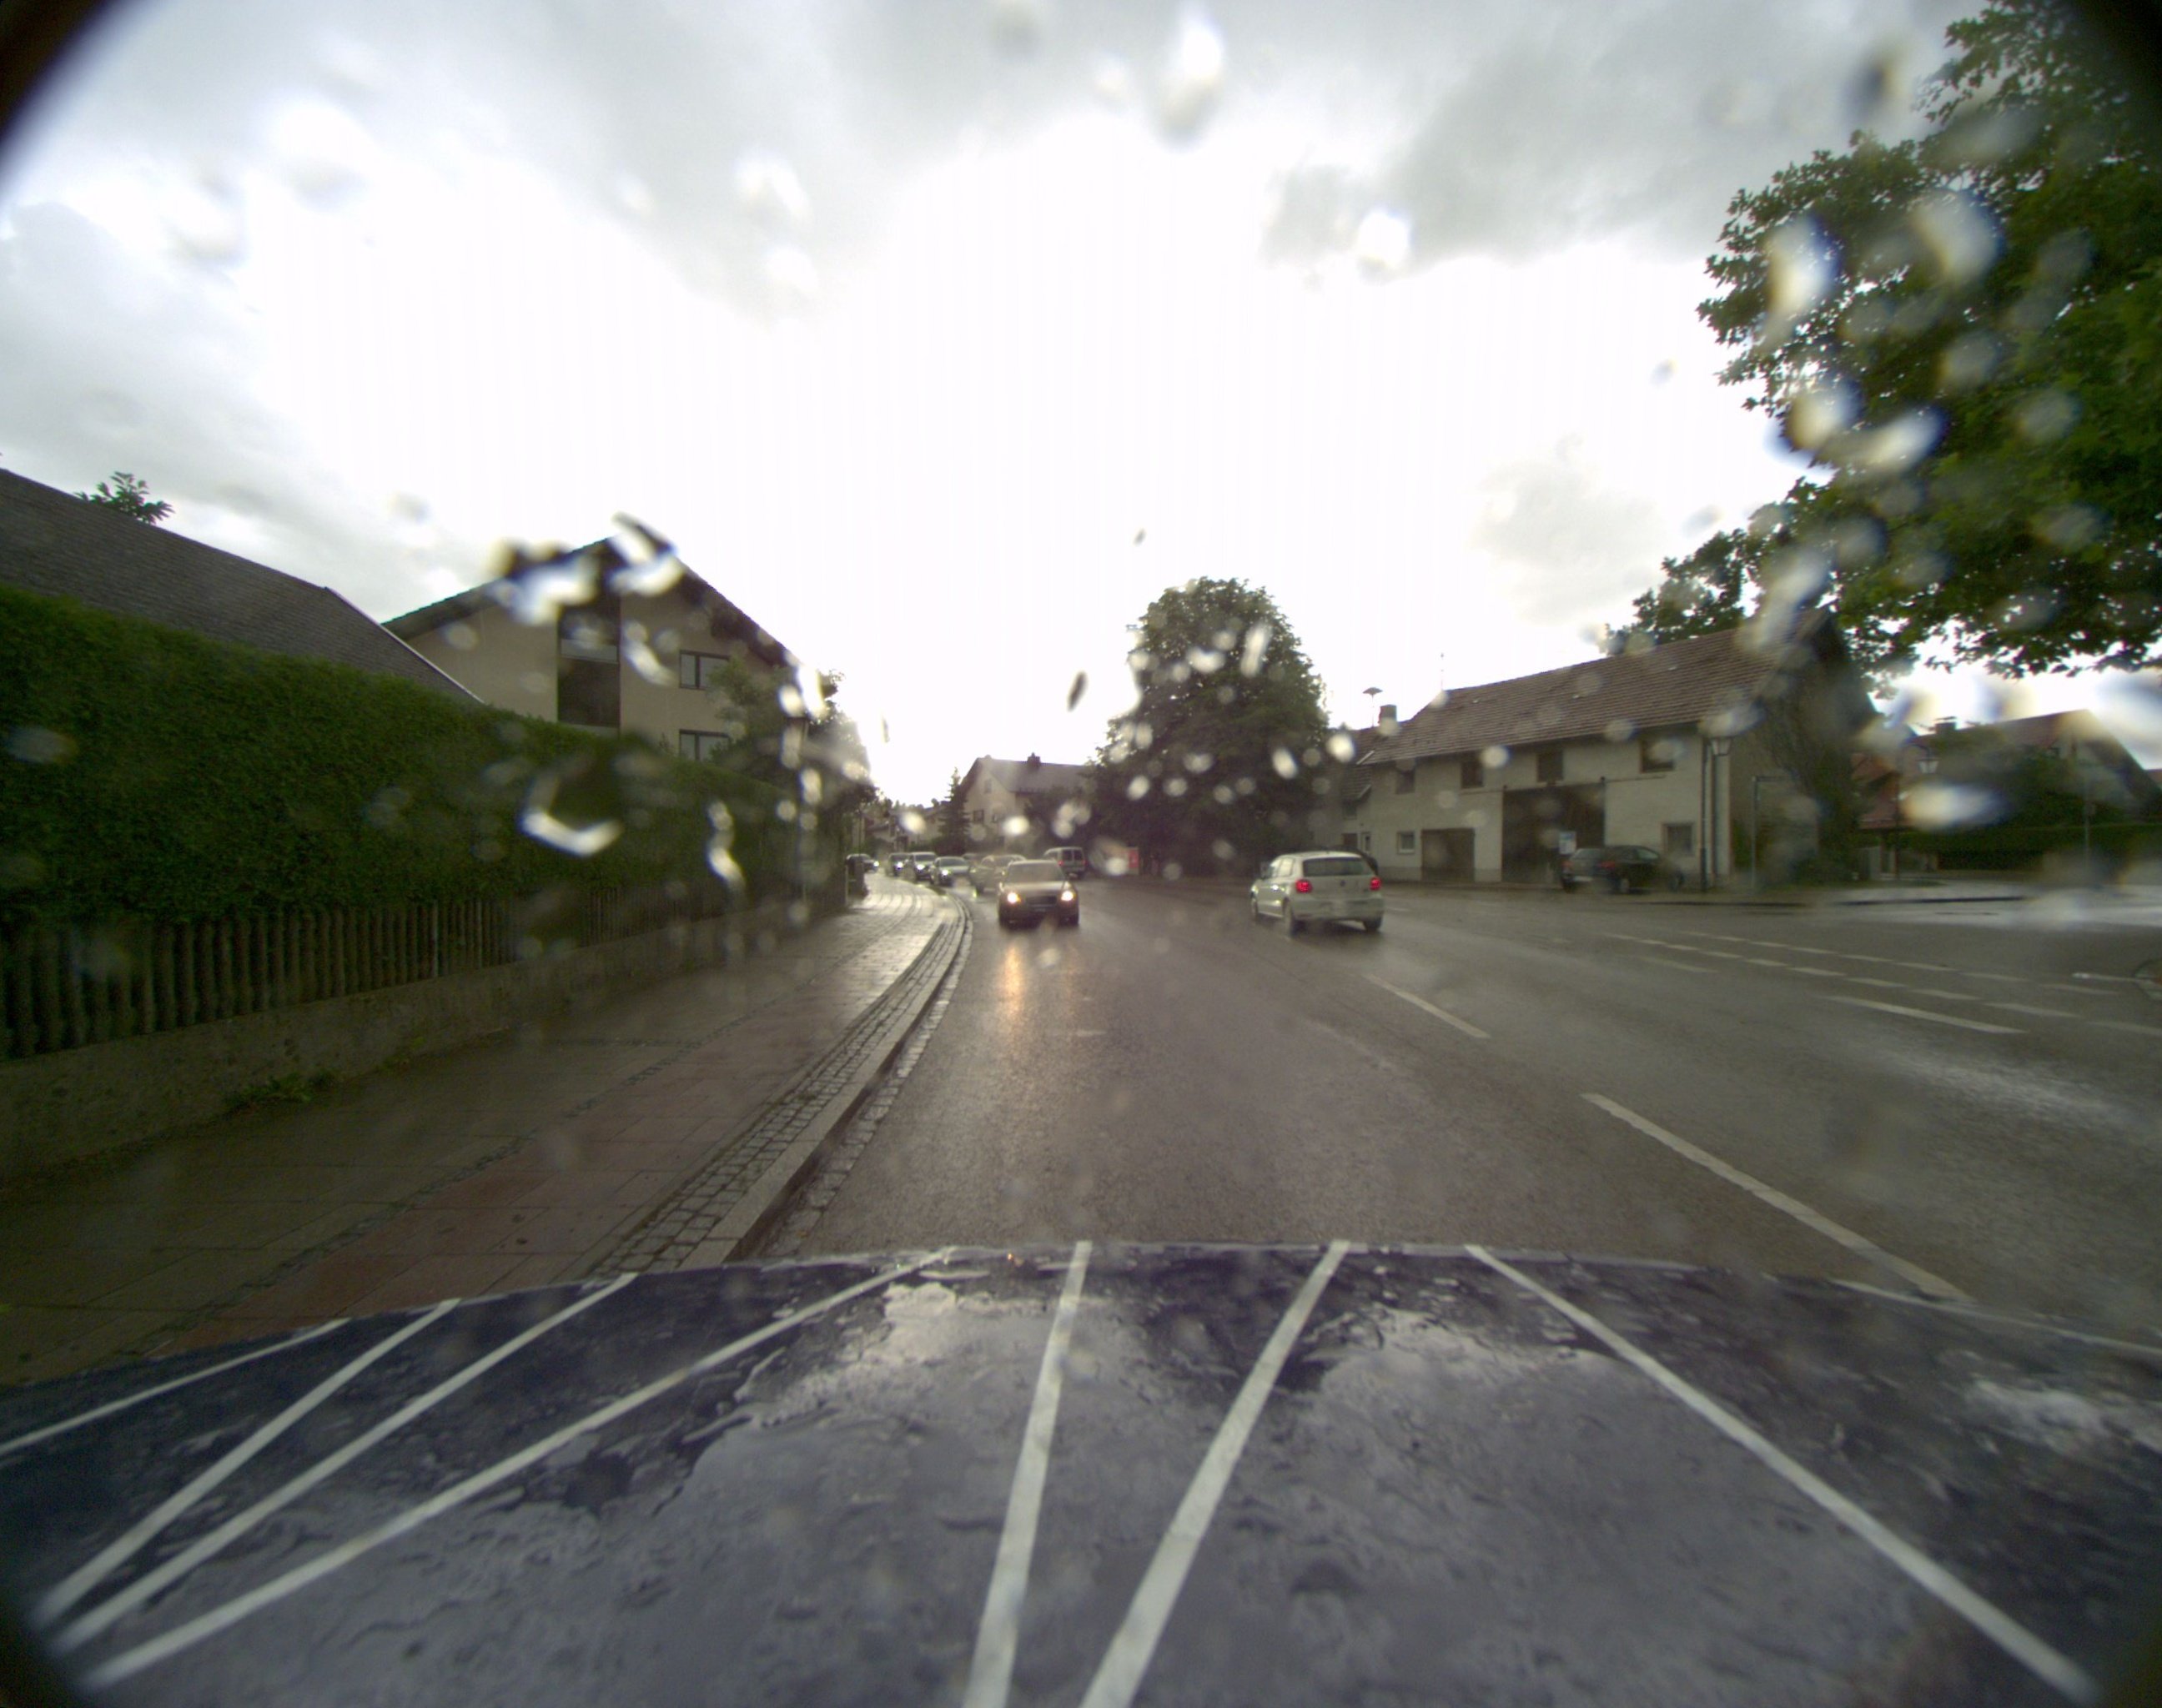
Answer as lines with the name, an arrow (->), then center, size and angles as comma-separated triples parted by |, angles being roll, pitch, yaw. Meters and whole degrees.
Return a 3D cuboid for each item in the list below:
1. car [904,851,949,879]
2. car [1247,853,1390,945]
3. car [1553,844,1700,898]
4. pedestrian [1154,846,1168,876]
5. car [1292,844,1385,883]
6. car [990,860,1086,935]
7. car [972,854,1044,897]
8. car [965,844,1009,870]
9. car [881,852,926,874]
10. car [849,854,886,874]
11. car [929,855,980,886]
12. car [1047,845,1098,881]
car -> -9.497, 0.636, 46.394 | 1.797, 1.539, 4.273 | -3, 1, -23
car -> 4.419, 0.760, 14.671 | 1.622, 1.436, 3.670 | -2, 1, 1
car -> 16.424, 0.461, 22.865 | 4.287, 1.428, 1.817 | -1, 1, -26
pedestrian -> 4.282, 0.366, 40.603 | 0.652, 1.619, 0.479 | -1, 1, 18
car -> 10.936, 0.390, 32.139 | 4.290, 1.539, 1.812 | 1, 0, -41
car -> -1.137, 0.904, 17.875 | 1.795, 1.387, 4.277 | -2, 1, -9
car -> -3.017, 0.781, 30.227 | 1.796, 1.471, 5.377 | -3, 1, -17
car -> -6.592, 0.169, 52.881 | 1.792, 1.654, 4.435 | -2, 3, -24
car -> -12.542, 0.624, 53.498 | 1.798, 1.365, 4.271 | -3, 1, -31
car -> -17.810, 0.846, 63.214 | 1.798, 1.539, 4.271 | -3, 1, -31
car -> -6.574, 0.801, 39.149 | 1.796, 1.387, 4.273 | -3, 1, -20
car -> -0.543, 0.432, 41.179 | 1.646, 1.755, 4.324 | -3, 1, -16
